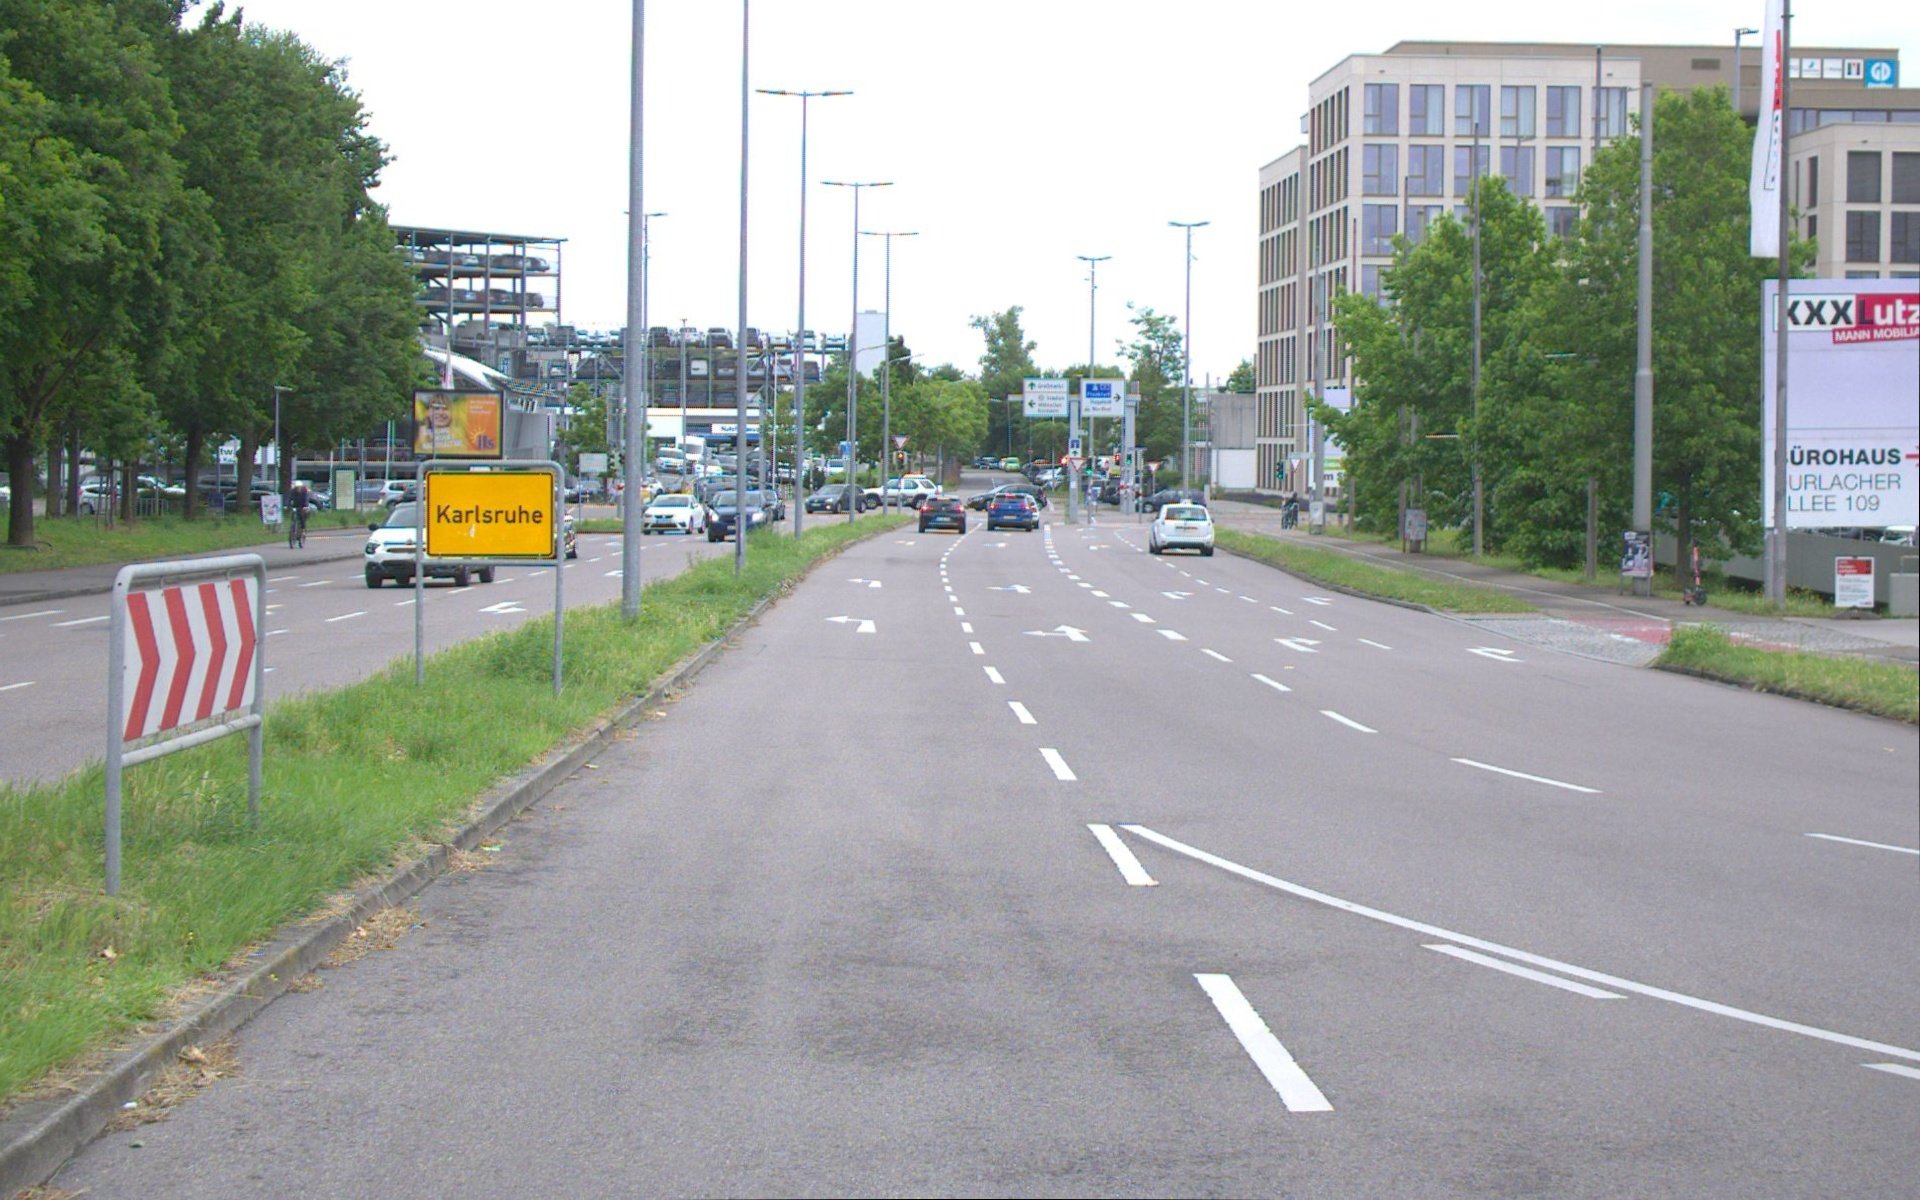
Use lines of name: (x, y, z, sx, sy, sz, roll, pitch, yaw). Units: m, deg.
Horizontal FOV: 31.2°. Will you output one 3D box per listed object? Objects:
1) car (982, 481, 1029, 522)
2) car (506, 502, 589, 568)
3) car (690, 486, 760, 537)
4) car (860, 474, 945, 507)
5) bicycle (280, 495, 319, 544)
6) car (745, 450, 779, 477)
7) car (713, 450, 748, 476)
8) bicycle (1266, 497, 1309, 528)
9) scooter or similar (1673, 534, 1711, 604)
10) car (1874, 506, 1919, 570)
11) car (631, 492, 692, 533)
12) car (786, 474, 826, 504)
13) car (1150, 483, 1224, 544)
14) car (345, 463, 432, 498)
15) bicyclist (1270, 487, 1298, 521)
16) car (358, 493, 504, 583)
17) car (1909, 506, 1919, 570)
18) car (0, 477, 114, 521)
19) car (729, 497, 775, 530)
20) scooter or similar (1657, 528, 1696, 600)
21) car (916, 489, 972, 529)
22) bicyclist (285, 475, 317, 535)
car: (1.830, -4.012, 139.265, 1.835, 1.509, 4.001, 2, 3, 0)
car: (-9.934, -1.584, 83.030, 1.882, 1.431, 4.433, -2, 3, -6)
car: (-7.155, -2.711, 104.984, 1.931, 1.481, 4.440, -1, 2, -1)
car: (-3.094, -5.879, 184.500, 4.415, 1.654, 2.001, 1, 2, -6)
bicycle: (-17.639, -2.170, 91.846, 0.642, 1.246, 2.056, 2, 2, -1)
car: (-13.913, -9.602, 241.423, 1.776, 1.699, 3.916, 1, 4, 5)
car: (-16.103, -9.640, 241.418, 1.776, 1.699, 3.916, 1, 4, 5)
bicycle: (14.628, -3.910, 153.648, 0.700, 1.291, 2.011, 0, 3, -35)
scooter or similar: (13.030, -0.556, 61.234, 0.370, 1.186, 1.248, 0, 3, -1)
car: (22.782, -1.366, 77.050, 4.054, 1.345, 1.764, 1, 4, -1)
car: (-10.760, -3.163, 124.196, 1.866, 1.449, 4.169, -1, 2, 0)
car: (-7.691, -5.551, 171.853, 1.780, 1.450, 4.183, -1, 2, 0)
car: (6.714, -2.592, 102.170, 1.993, 1.746, 4.180, 1, 2, 1)
car: (-30.122, -6.315, 181.274, 4.432, 1.705, 2.001, 1, 3, -7)
bicyclist: (14.497, -4.310, 153.810, 0.700, 1.498, 1.000, 0, 3, -36)
car: (-9.465, -1.123, 61.827, 1.931, 1.513, 4.182, -2, 1, 0)
car: (22.828, -1.289, 74.314, 4.054, 1.345, 1.835, 1, 4, -1)
car: (-43.605, -4.880, 165.924, 5.131, 1.956, 1.881, 0, 7, -4)
car: (-9.326, -3.894, 154.048, 1.772, 1.447, 4.405, -1, 2, 0)
scooter or similar: (14.511, -0.742, 69.679, 0.650, 1.416, 1.818, 1, 1, 8)
car: (-0.603, -3.363, 127.846, 1.987, 1.423, 4.242, 1, 1, -1)
bicyclist: (-17.606, -2.541, 91.851, 0.640, 1.572, 1.000, 2, 2, -1)
